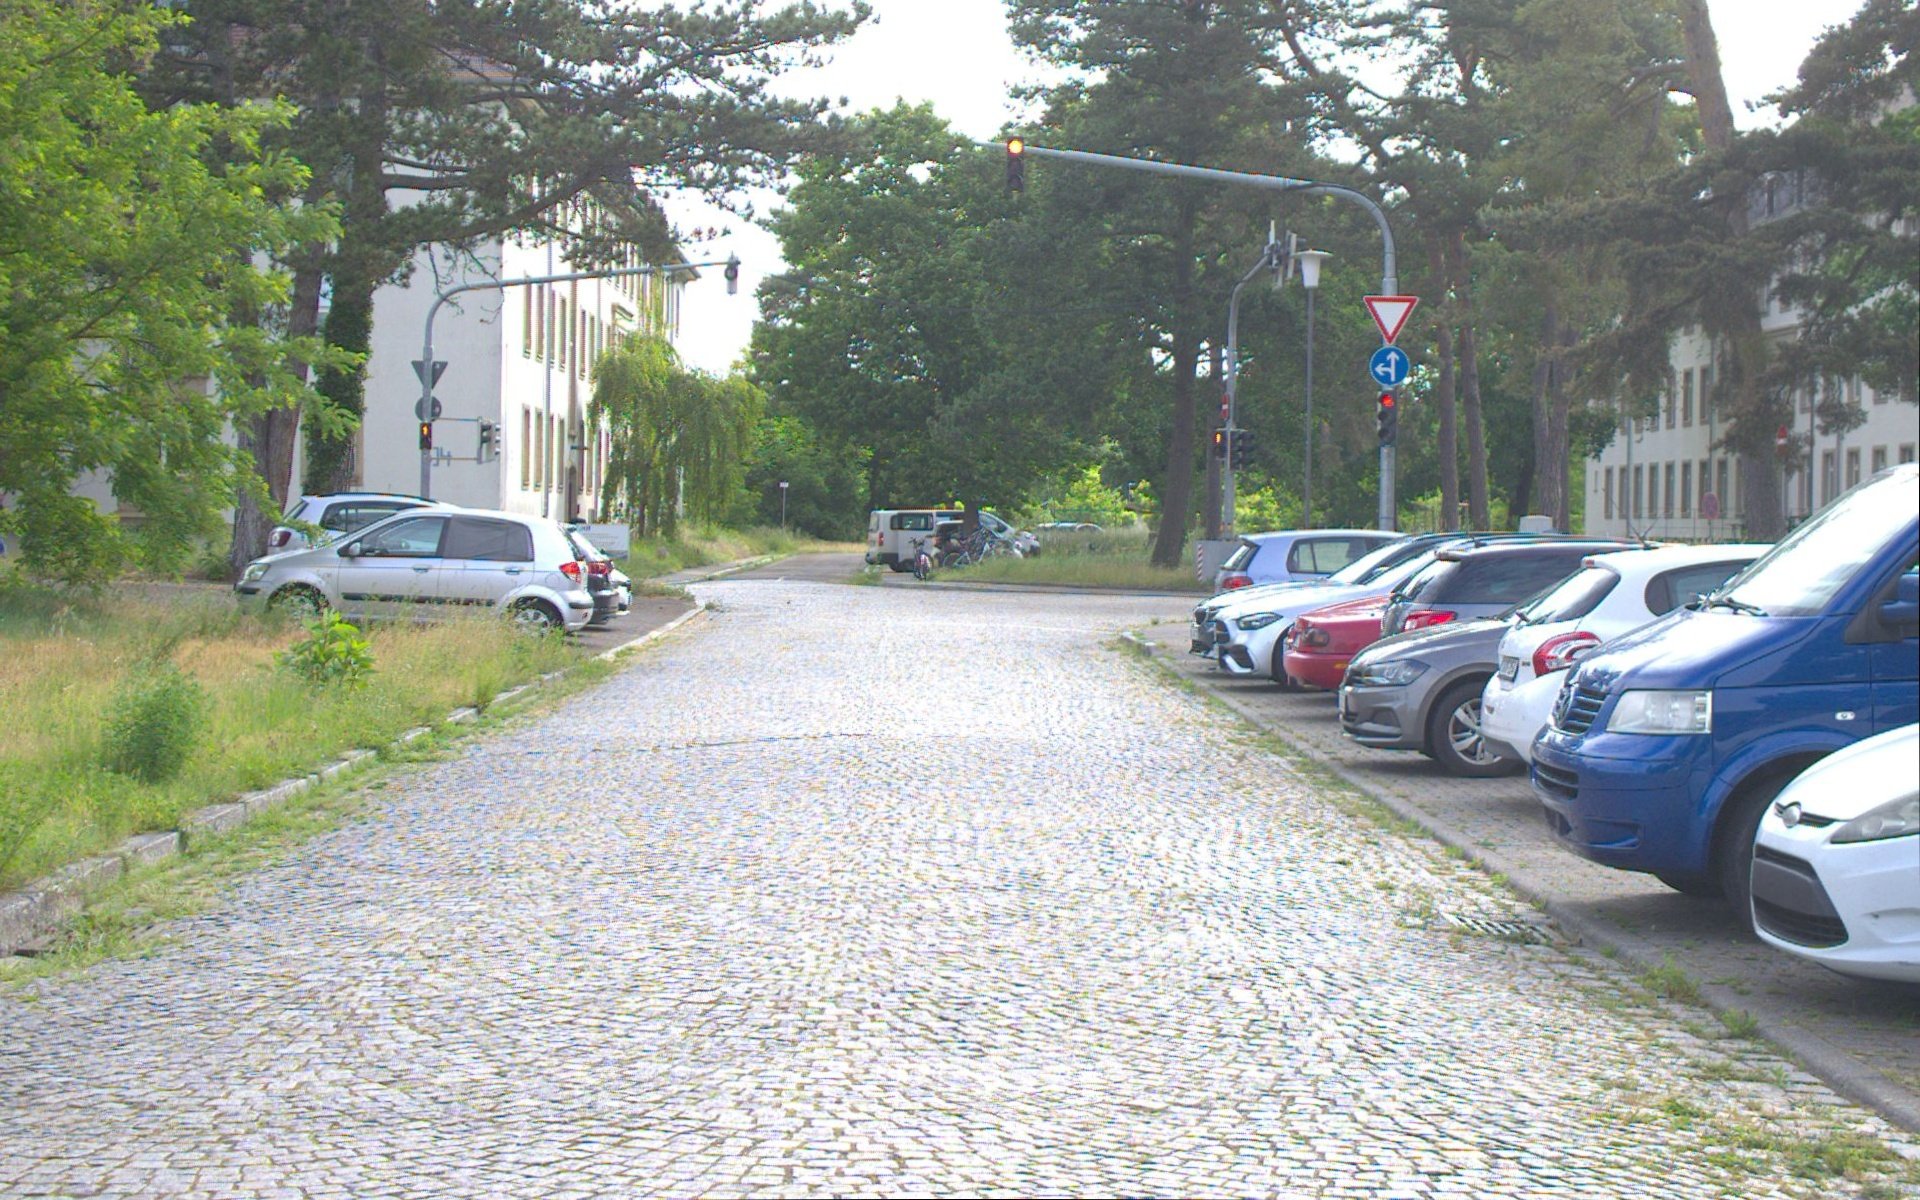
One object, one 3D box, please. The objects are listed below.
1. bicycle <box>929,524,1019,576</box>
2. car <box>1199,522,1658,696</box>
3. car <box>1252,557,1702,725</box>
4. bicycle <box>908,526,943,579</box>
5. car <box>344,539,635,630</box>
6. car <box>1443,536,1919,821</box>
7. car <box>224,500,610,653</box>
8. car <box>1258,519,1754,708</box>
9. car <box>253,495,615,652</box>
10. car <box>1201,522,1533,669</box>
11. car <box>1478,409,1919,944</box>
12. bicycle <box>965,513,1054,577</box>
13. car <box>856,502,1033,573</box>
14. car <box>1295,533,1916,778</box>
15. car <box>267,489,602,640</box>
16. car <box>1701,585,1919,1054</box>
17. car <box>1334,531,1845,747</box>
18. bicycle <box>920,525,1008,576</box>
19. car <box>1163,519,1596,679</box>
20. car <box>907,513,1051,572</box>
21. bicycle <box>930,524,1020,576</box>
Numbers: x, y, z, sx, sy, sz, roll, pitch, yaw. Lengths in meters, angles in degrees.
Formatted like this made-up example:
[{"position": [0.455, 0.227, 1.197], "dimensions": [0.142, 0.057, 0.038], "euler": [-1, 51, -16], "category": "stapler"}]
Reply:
[{"position": [0.353, -1.264, 87.445], "dimensions": [2.160, 1.264, 0.812], "euler": [1, 1, -7], "category": "bicycle"}, {"position": [4.393, 0.071, 32.543], "dimensions": [3.986, 1.538, 1.664], "euler": [1, 2, -6], "category": "car"}, {"position": [4.177, 0.320, 28.057], "dimensions": [3.291, 1.263, 1.664], "euler": [1, 2, -6], "category": "car"}, {"position": [-0.831, -1.156, 83.089], "dimensions": [0.810, 1.264, 1.973], "euler": [1, 1, 0], "category": "bicycle"}, {"position": [-6.105, -0.210, 44.779], "dimensions": [3.670, 1.090, 1.647], "euler": [1, 2, -7], "category": "car"}, {"position": [4.547, 0.423, 19.535], "dimensions": [3.292, 1.499, 1.664], "euler": [1, 2, -3], "category": "car"}, {"position": [-5.796, -0.268, 37.044], "dimensions": [3.986, 1.546, 2.001], "euler": [1, 2, -7], "category": "car"}, {"position": [4.768, 0.104, 30.305], "dimensions": [3.986, 1.538, 1.664], "euler": [1, 1, -6], "category": "car"}, {"position": [-5.996, -0.321, 39.504], "dimensions": [3.986, 1.700, 2.001], "euler": [1, 2, -7], "category": "car"}, {"position": [4.464, -0.061, 37.920], "dimensions": [3.388, 1.538, 1.391], "euler": [1, 2, -6], "category": "car"}, {"position": [4.691, 0.296, 14.113], "dimensions": [4.782, 2.033, 1.738], "euler": [1, 2, -3], "category": "car"}, {"position": [1.277, -1.411, 88.159], "dimensions": [2.160, 1.610, 0.812], "euler": [1, 1, -7], "category": "bicycle"}, {"position": [-0.477, -1.907, 104.667], "dimensions": [5.049, 2.007, 2.001], "euler": [1, 1, -11], "category": "car"}, {"position": [4.174, 0.347, 22.462], "dimensions": [3.597, 1.501, 1.665], "euler": [1, 2, -11], "category": "car"}, {"position": [-6.480, -0.455, 42.582], "dimensions": [3.986, 1.744, 1.927], "euler": [1, 1, -8], "category": "car"}, {"position": [4.566, 0.671, 11.630], "dimensions": [3.722, 1.419, 1.655], "euler": [0, 1, -3], "category": "car"}, {"position": [4.602, 0.274, 25.343], "dimensions": [3.291, 1.499, 1.665], "euler": [1, 2, -11], "category": "car"}, {"position": [0.097, -1.288, 88.656], "dimensions": [2.160, 1.264, 0.812], "euler": [1, 1, -7], "category": "bicycle"}, {"position": [4.276, -0.026, 35.348], "dimensions": [4.122, 1.538, 1.664], "euler": [1, 2, -6], "category": "car"}, {"position": [0.537, -1.695, 101.401], "dimensions": [3.986, 1.638, 2.001], "euler": [1, 1, -7], "category": "car"}, {"position": [0.366, -1.256, 86.857], "dimensions": [2.160, 1.264, 0.812], "euler": [1, 1, -7], "category": "bicycle"}]
